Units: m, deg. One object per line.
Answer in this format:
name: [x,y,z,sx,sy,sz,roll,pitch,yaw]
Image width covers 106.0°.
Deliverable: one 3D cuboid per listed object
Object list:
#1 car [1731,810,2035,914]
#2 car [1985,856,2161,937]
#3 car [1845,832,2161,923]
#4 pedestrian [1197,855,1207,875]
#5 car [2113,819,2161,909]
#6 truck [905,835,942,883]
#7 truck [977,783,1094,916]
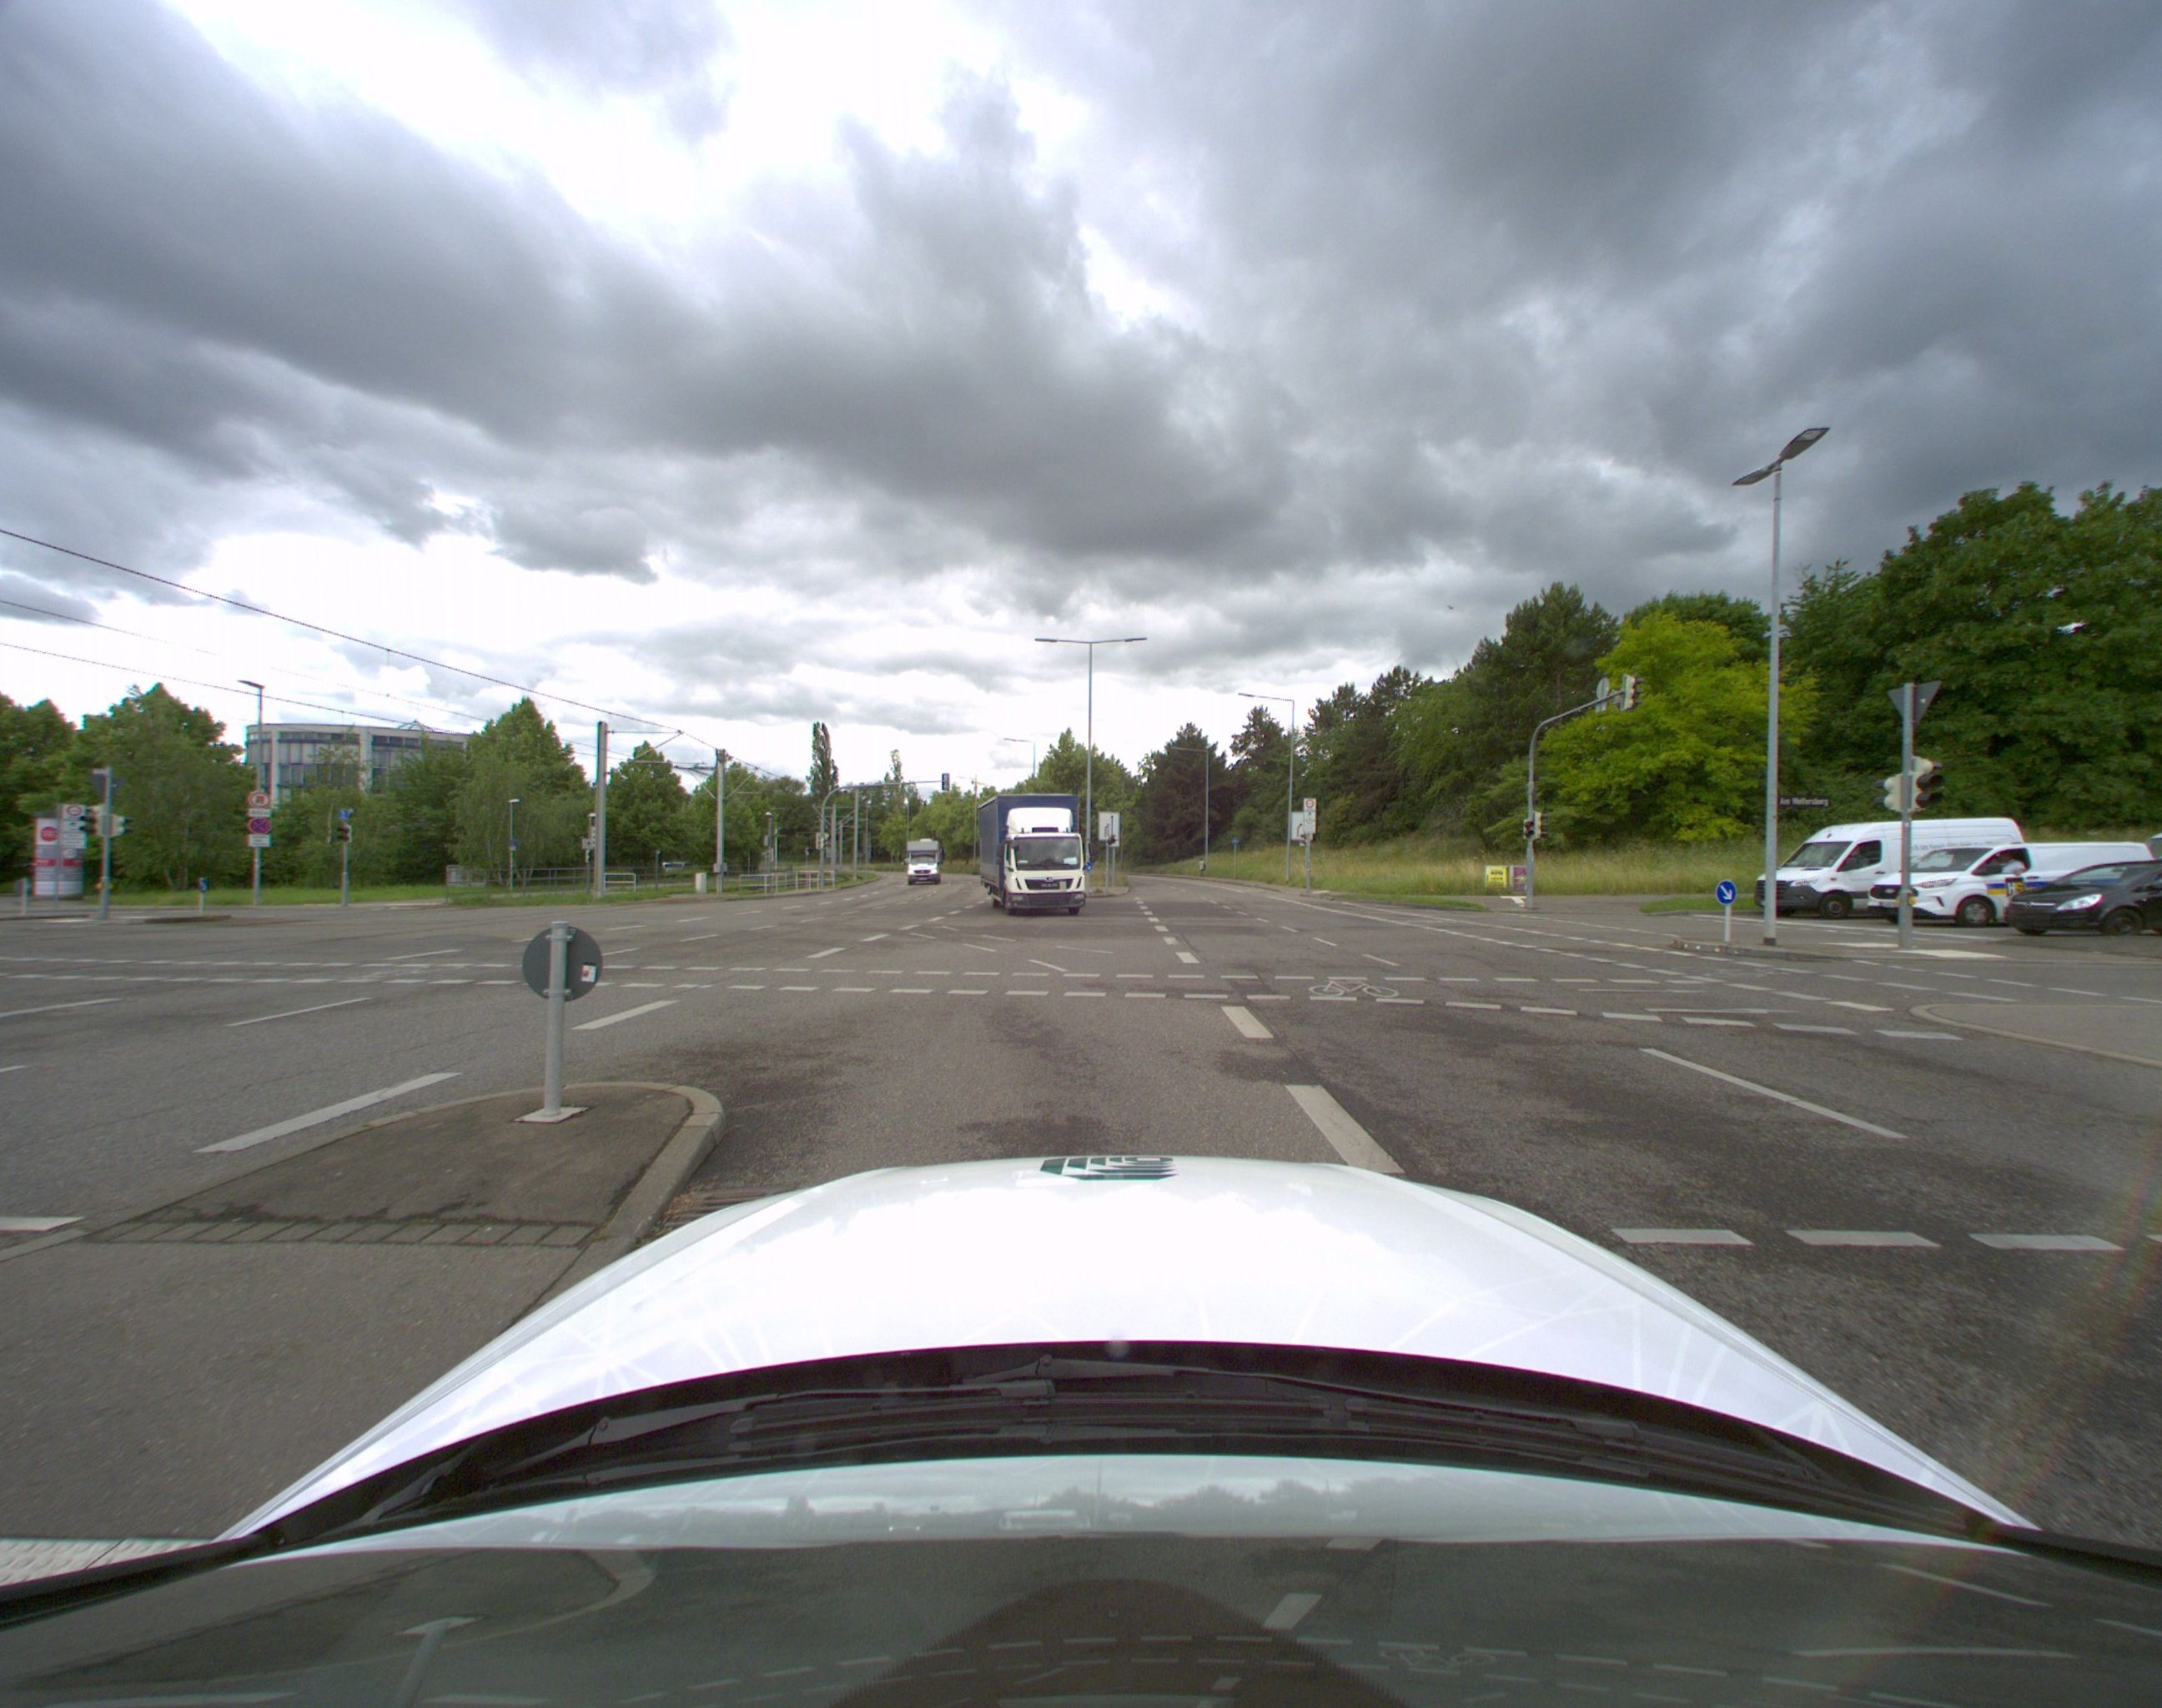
car: [21.841,0.250,22.419,5.914,2.659,2.230,-1,-1,4]
car: [20.223,0.778,15.595,3.835,1.442,1.638,-1,0,5]
car: [21.648,0.571,19.290,4.951,1.991,2.122,-1,-2,2]
pedestrian: [10.447,0.983,70.391,0.736,1.717,0.625,0,0,2]
car: [31.874,0.237,21.507,5.912,2.386,2.231,-1,-1,5]
truck: [-10.679,0.341,55.573,2.104,3.010,6.253,-4,0,-9]
truck: [-1.819,-0.104,27.652,2.780,3.804,8.355,0,0,-12]
